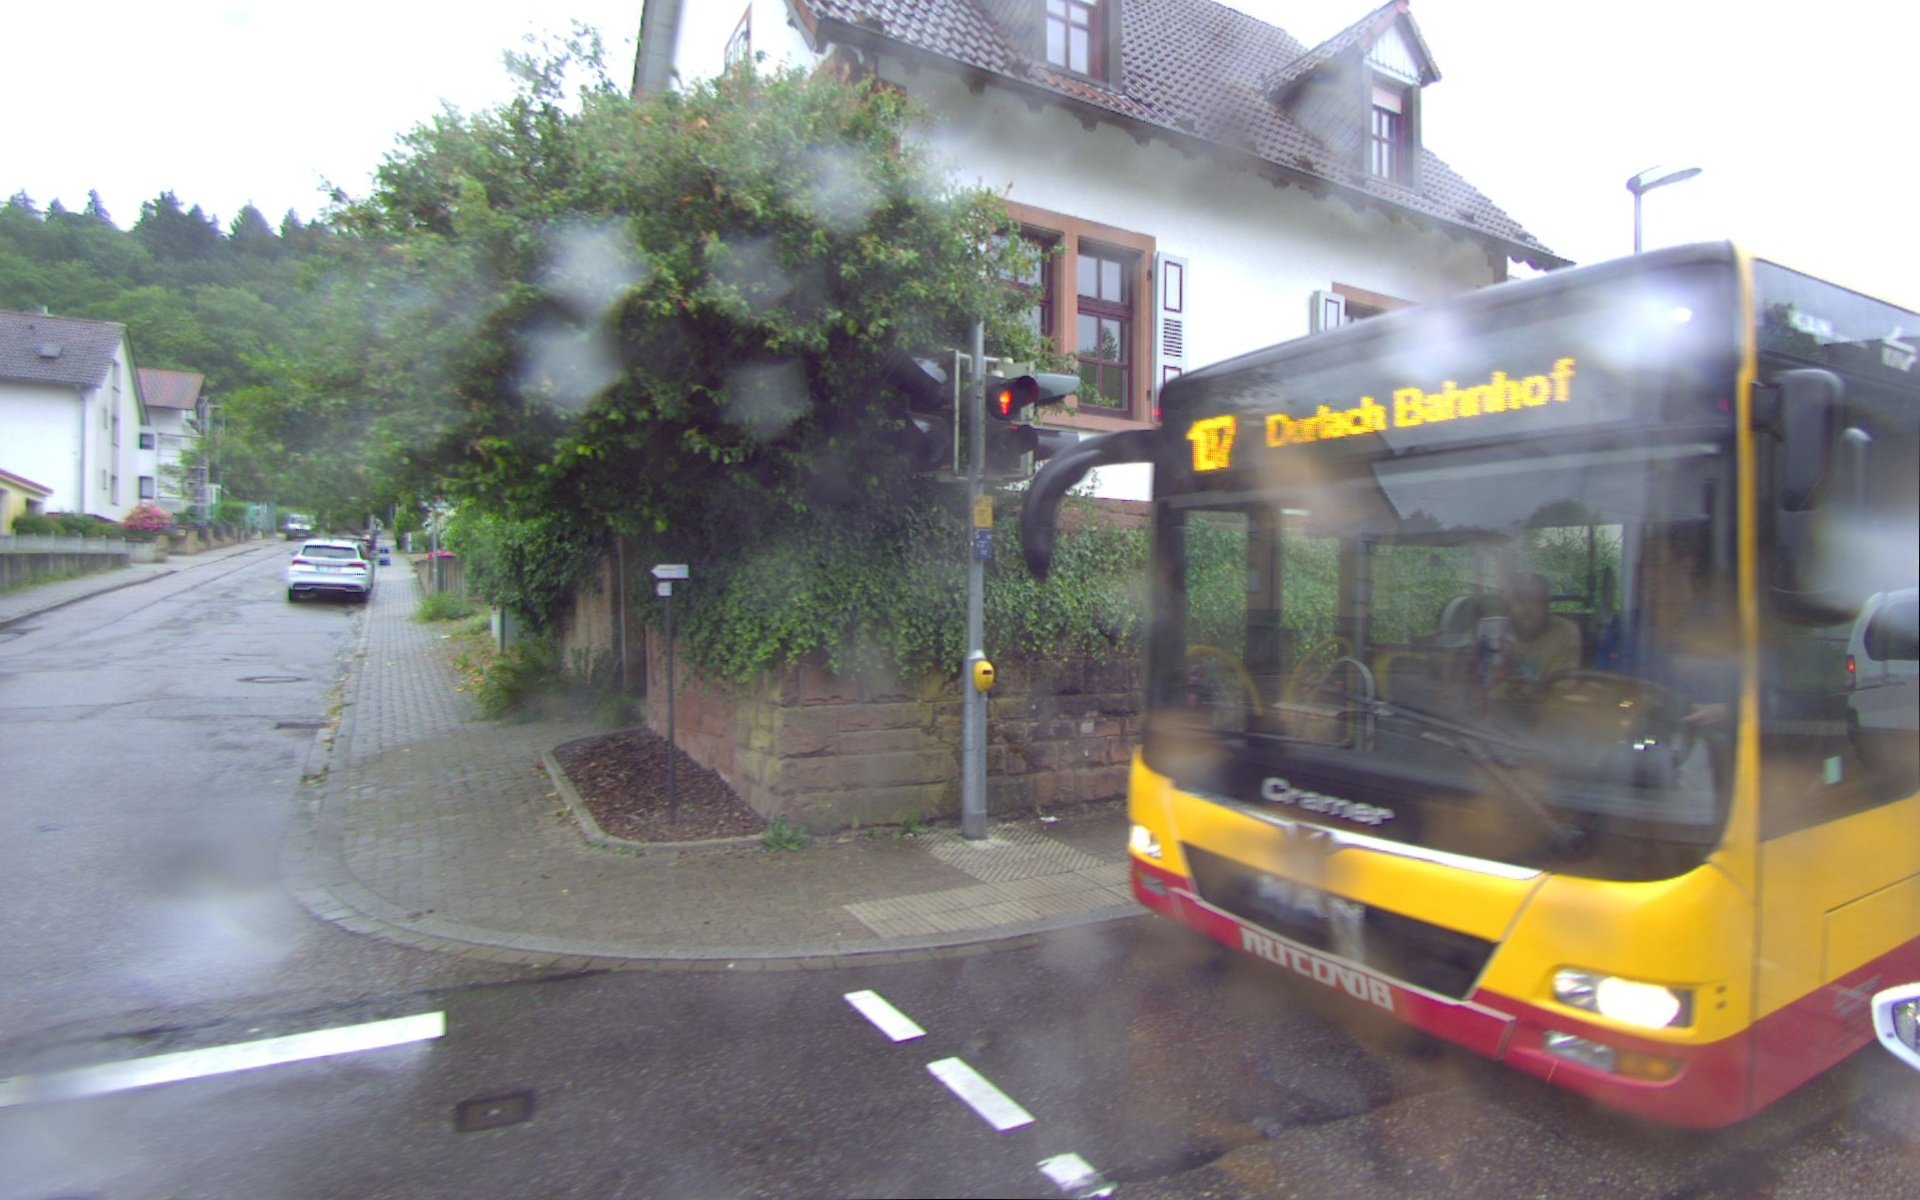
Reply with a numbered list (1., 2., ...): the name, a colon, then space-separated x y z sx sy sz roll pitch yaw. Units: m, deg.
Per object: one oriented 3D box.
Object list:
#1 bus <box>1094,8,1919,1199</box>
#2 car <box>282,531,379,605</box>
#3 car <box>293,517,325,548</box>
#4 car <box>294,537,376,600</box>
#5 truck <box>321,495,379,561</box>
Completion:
1. bus: 6.459 0.014 6.749 12.050 3.040 2.636 0 1 -31
2. car: -16.554 -0.891 26.556 1.877 1.535 3.861 2 5 -29
3. car: -47.640 -4.930 73.575 1.896 2.040 3.963 2 2 -33
4. car: -19.197 -0.998 30.996 1.877 1.535 3.861 2 5 -29
5. truck: -34.634 -4.018 57.222 2.423 3.397 6.607 2 2 -28
